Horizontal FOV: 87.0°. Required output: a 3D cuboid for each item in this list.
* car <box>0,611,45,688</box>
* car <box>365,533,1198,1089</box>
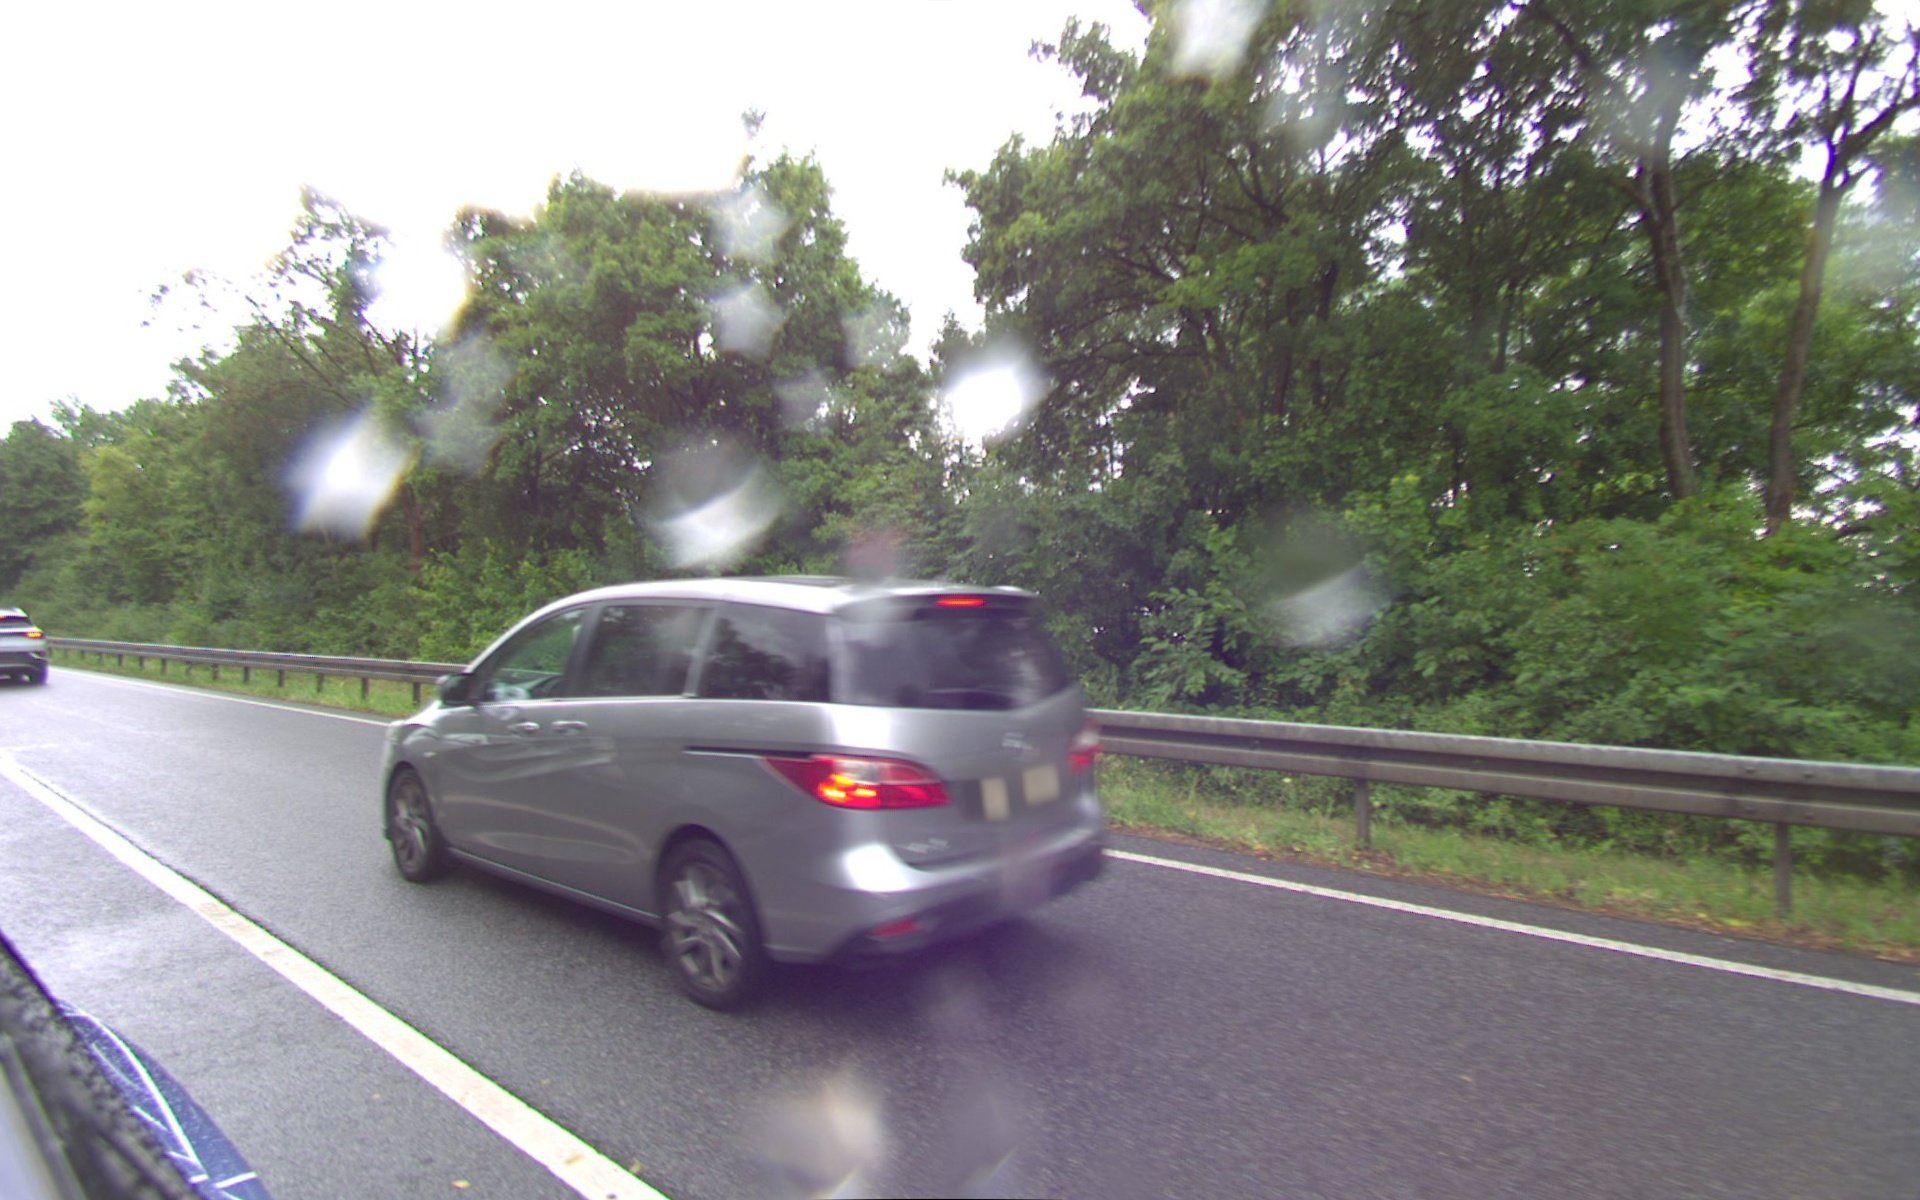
[{"bbox_3d":[-21.082,1.036,21.538,4.202,1.544,1.789,-1,-1,39],"label":"car"},{"bbox_3d":[-1.217,0.643,4.980,4.372,1.586,1.675,-1,-1,41],"label":"car"}]
